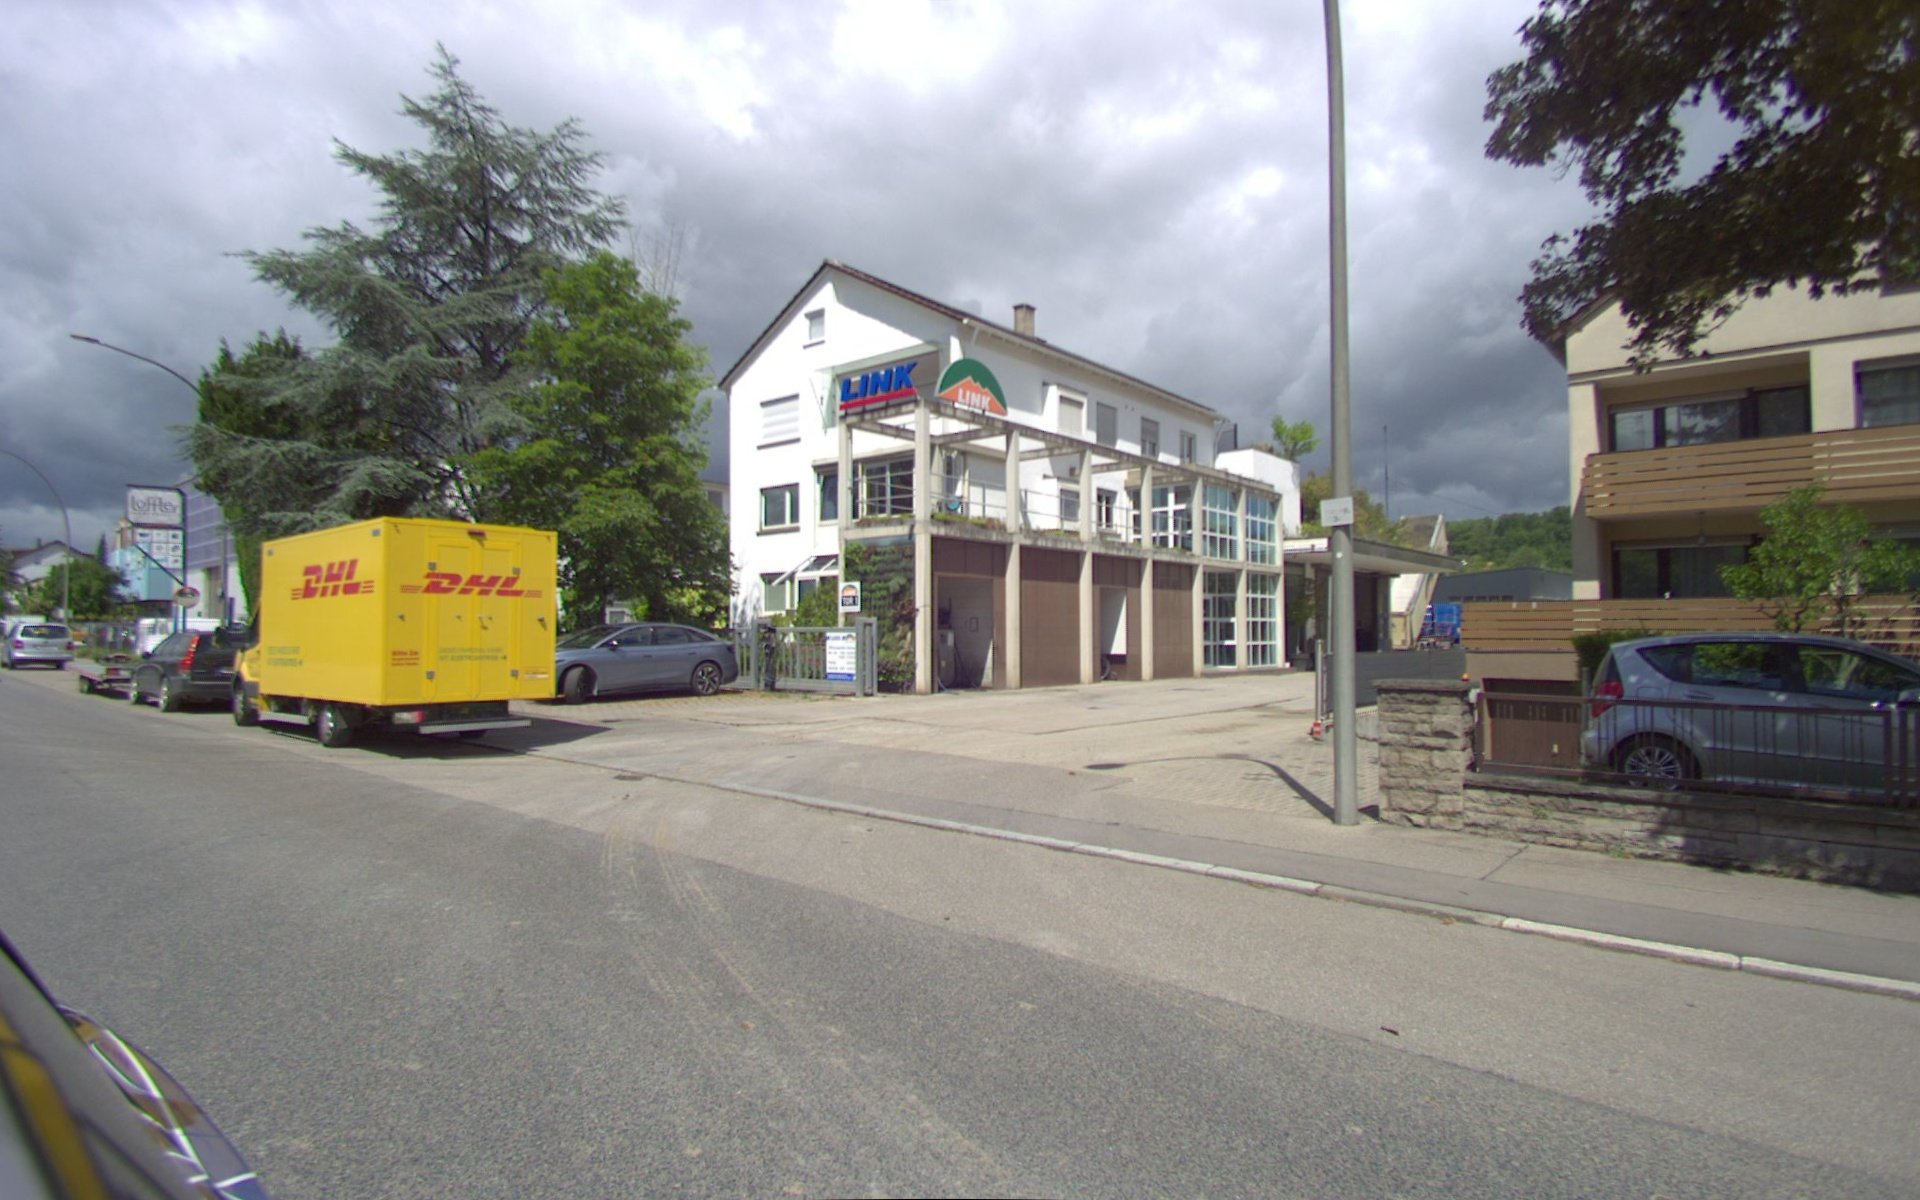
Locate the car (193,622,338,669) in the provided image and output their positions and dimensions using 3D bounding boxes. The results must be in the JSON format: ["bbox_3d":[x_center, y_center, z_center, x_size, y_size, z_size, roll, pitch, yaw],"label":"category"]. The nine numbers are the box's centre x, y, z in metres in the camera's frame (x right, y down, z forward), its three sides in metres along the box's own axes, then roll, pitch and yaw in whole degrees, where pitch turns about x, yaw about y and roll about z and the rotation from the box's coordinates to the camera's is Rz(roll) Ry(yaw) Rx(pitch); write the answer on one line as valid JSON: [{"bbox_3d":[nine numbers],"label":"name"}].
[{"bbox_3d":[-26.146,1.690,38.203,1.997,1.683,4.118,-1,-2,38],"label":"car"}]

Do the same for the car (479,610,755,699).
[{"bbox_3d":[-6.718,1.040,20.338,1.971,1.563,4.957,-1,-2,39],"label":"car"}]

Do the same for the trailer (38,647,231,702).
[{"bbox_3d":[-19.361,1.658,23.546,7.455,0.998,2.294,-1,-4,42],"label":"trailer"}]

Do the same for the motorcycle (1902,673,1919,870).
[{"bbox_3d":[6.736,1.046,6.291,1.844,1.174,0.827,1,-2,-32],"label":"motorcycle"}]

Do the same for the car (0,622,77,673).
[{"bbox_3d":[-32.590,1.661,35.545,4.126,1.689,1.785,-1,-4,41],"label":"car"}]

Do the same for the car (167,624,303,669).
[{"bbox_3d":[-28.751,1.855,40.233,2.101,1.683,3.948,-1,-3,38],"label":"car"}]

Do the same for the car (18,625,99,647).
[{"bbox_3d":[-63.330,2.561,71.153,1.674,1.505,3.994,-1,-3,40],"label":"car"}]

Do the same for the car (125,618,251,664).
[{"bbox_3d":[-33.159,1.772,43.524,1.999,1.891,3.945,-1,-3,41],"label":"car"}]

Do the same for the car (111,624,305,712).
[{"bbox_3d":[-14.547,1.274,19.474,4.810,1.464,1.972,-1,-6,42],"label":"car"}]

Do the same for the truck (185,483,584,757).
[{"bbox_3d":[-8.608,0.352,14.599,7.812,3.026,2.300,-1,-5,40],"label":"truck"}]

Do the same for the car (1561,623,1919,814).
[{"bbox_3d":[7.979,1.004,9.273,4.081,1.555,1.750,-1,-3,38],"label":"car"}]

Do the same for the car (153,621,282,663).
[{"bbox_3d":[-30.831,1.747,42.074,1.999,1.683,3.946,-1,-3,40],"label":"car"}]
